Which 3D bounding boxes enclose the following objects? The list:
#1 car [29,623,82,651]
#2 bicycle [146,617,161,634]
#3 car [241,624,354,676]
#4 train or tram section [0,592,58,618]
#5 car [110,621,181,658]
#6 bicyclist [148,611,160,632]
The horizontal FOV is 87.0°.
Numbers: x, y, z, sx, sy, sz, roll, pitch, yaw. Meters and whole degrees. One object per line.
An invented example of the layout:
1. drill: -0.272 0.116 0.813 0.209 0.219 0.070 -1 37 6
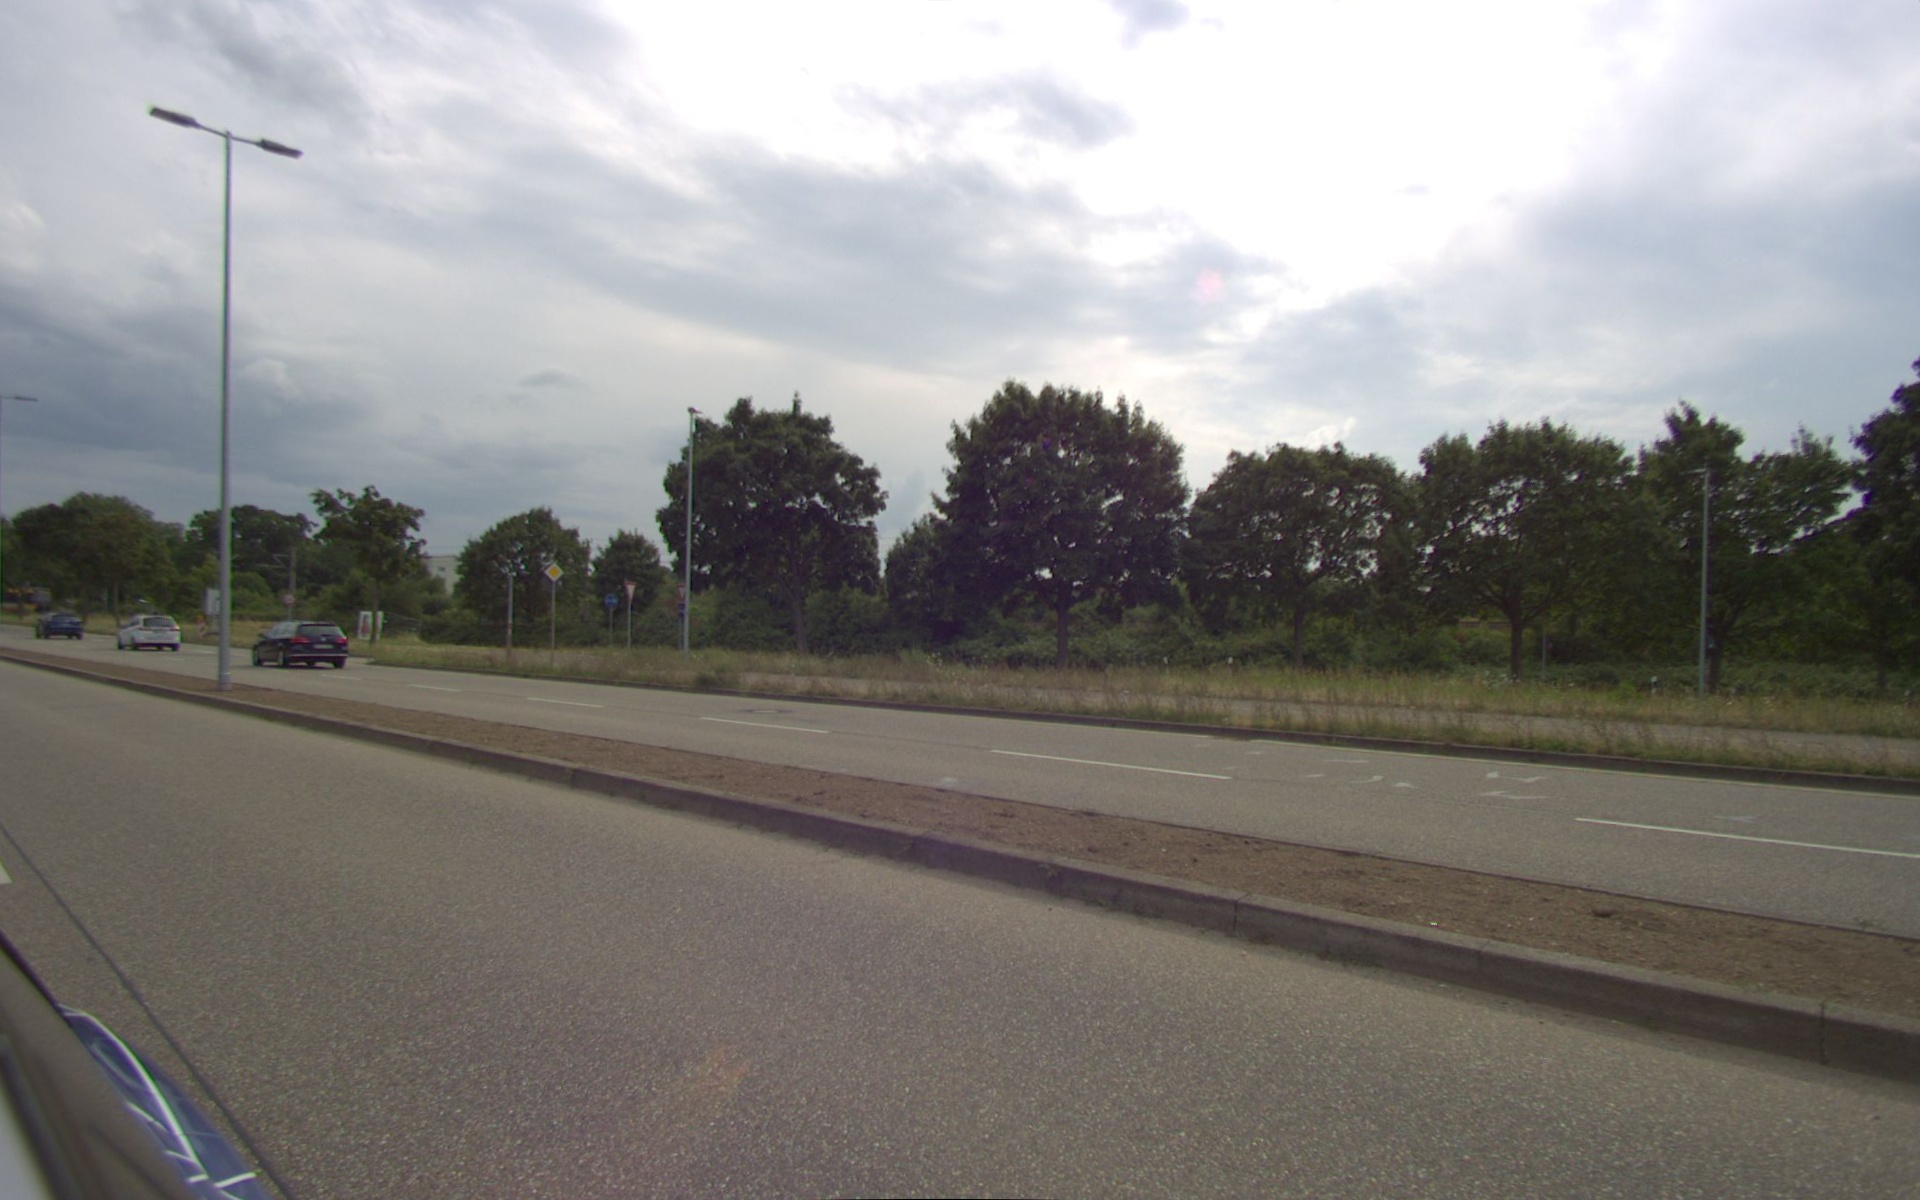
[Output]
1. car: -57.091 2.298 63.875 4.561 1.666 1.828 0 -2 40
2. bicycle: -69.617 2.235 87.341 2.165 1.433 0.530 -1 -3 41
3. car: -21.487 1.575 32.735 4.737 1.544 1.750 0 -2 40
4. train or tram section: -126.356 0.637 136.315 11.881 3.447 2.897 0 0 26
5. car: -39.381 1.894 48.875 4.635 1.666 1.750 0 -3 40
6. bicyclist: -69.622 1.870 87.392 0.818 1.846 0.637 -1 -3 40
